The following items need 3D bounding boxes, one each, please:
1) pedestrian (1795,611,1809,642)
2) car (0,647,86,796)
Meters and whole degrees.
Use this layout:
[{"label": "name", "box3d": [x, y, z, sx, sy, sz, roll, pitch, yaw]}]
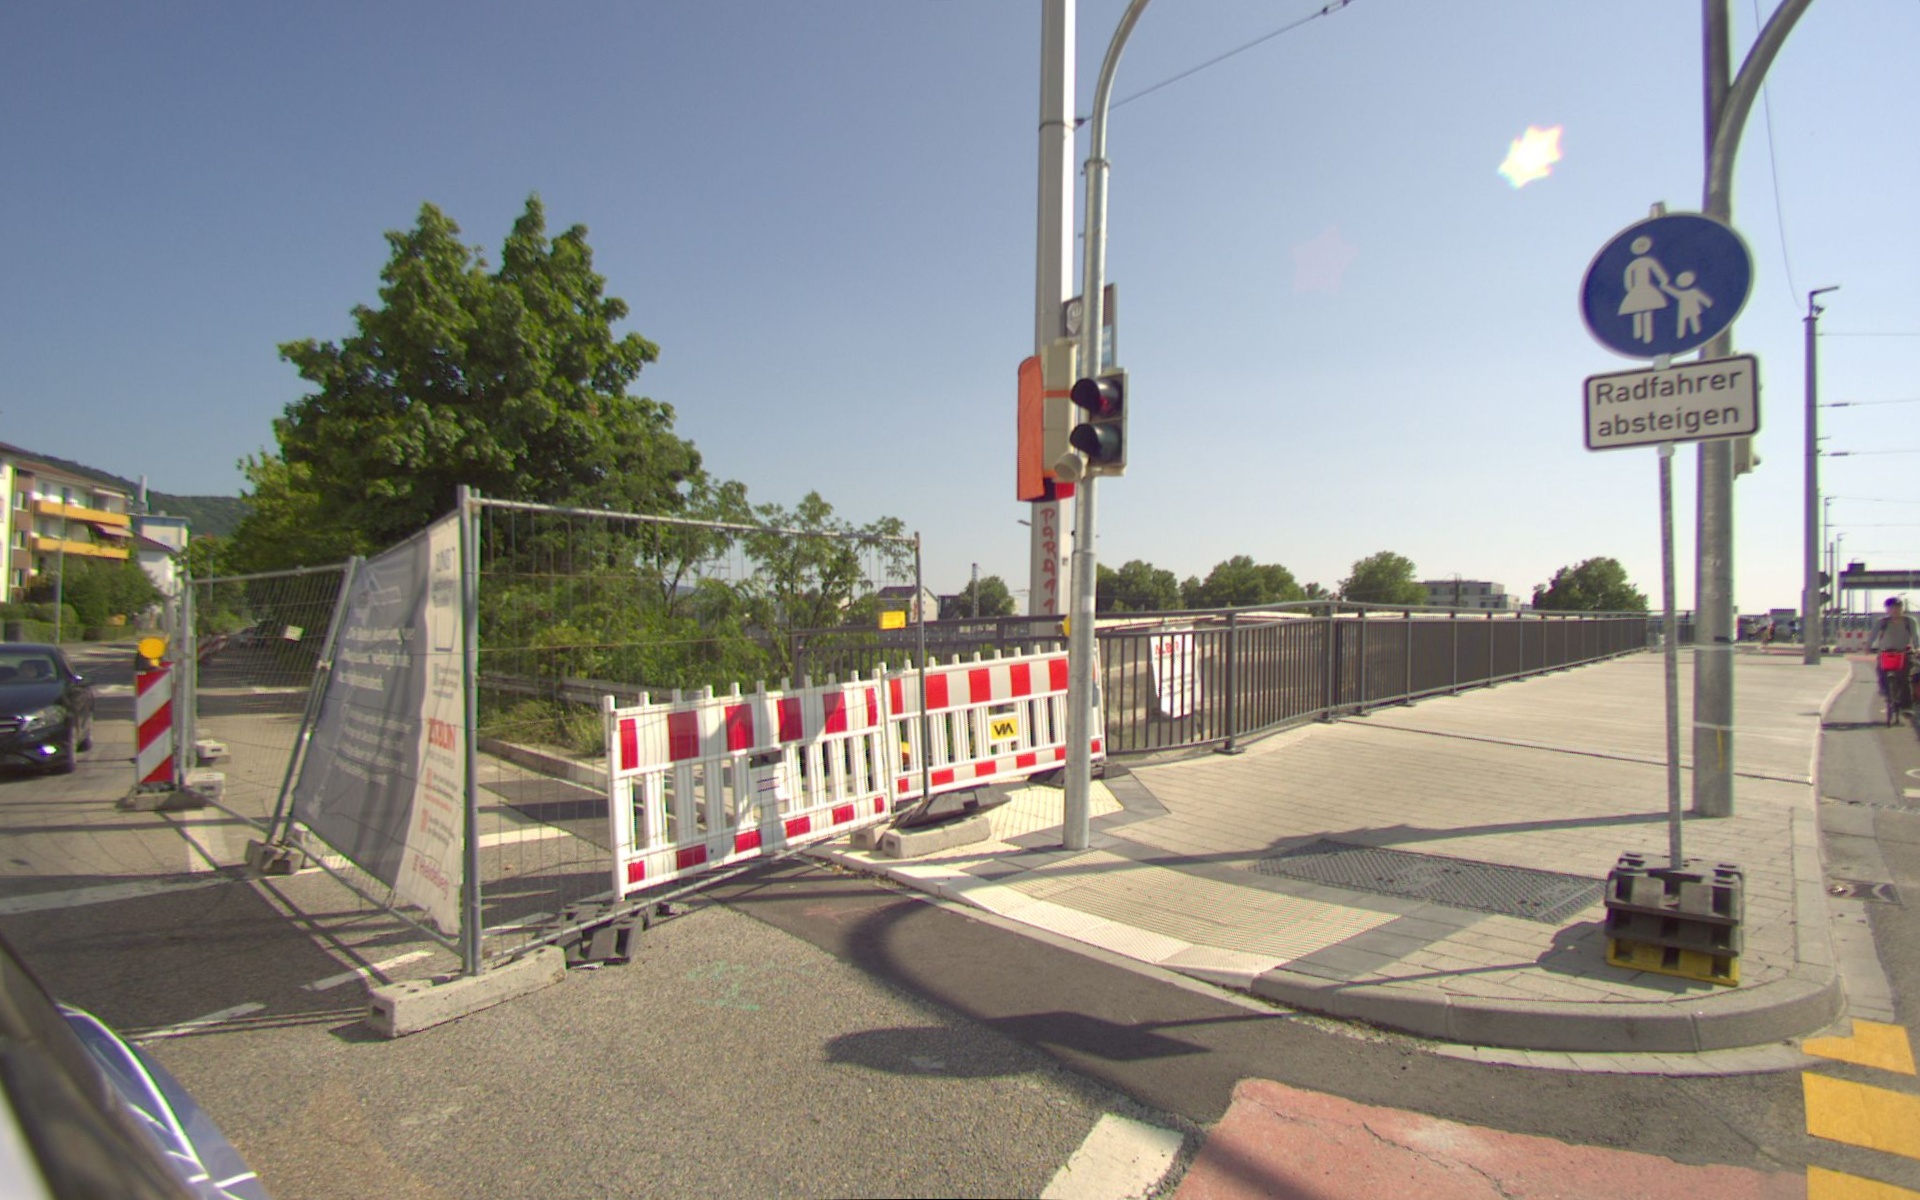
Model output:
[{"label": "pedestrian", "box3d": [51.815, 1.634, 62.308, 0.636, 1.908, 0.742, 0, -1, 42]}, {"label": "car", "box3d": [-11.185, 1.273, 11.548, 1.677, 1.419, 4.631, 2, -3, -39]}]
